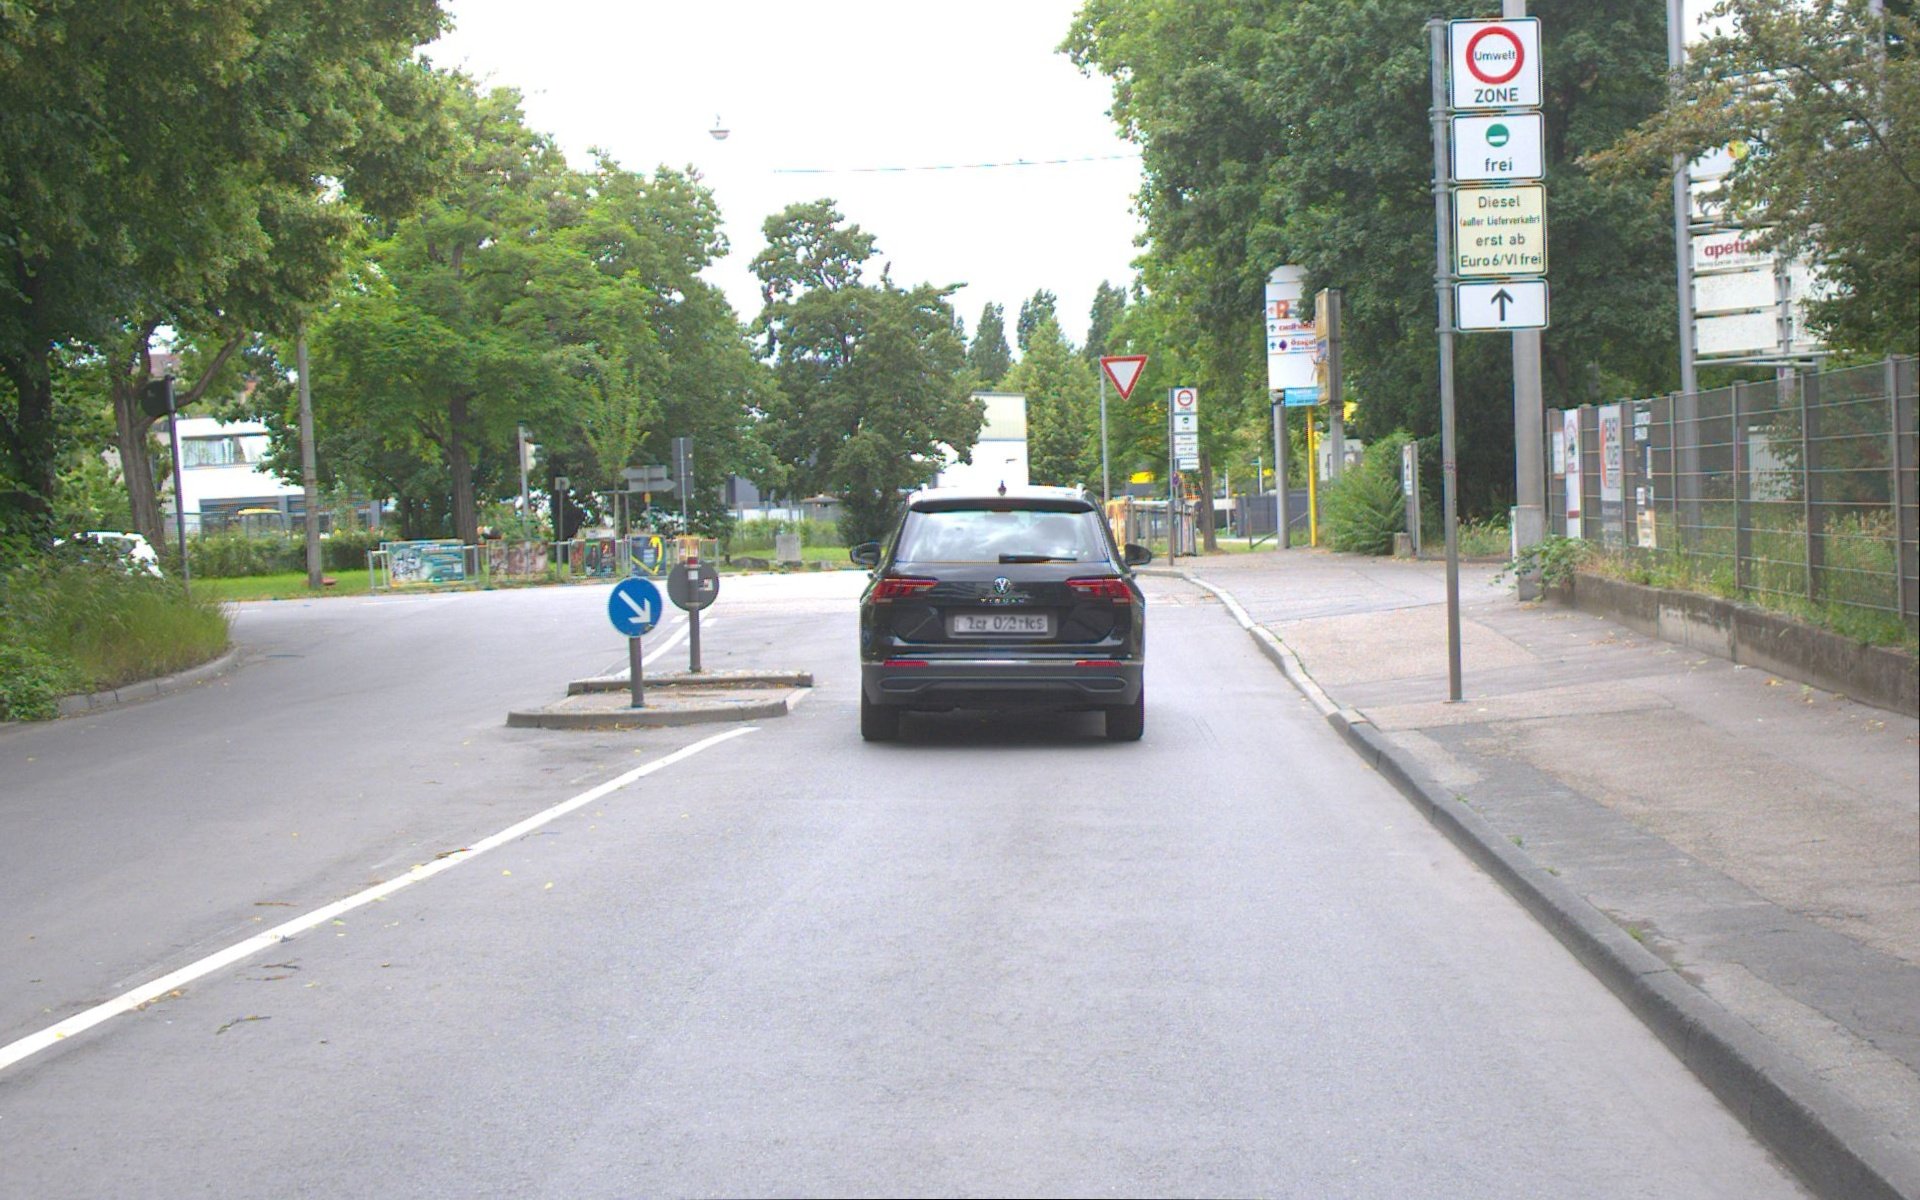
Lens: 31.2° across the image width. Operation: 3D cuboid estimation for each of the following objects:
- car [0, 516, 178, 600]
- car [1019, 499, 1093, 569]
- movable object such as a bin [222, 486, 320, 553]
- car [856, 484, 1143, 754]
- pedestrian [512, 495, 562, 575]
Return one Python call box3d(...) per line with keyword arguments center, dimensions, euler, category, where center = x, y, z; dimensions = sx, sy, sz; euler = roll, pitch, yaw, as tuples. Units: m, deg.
box3d(center=(-16.614, -0.779, 64.066), dimensions=(3.604, 1.404, 1.742), euler=(-3, 2, -26), category="car")
box3d(center=(2.357, -1.618, 83.327), dimensions=(1.659, 1.569, 3.828), euler=(-3, 1, 3), category="car")
box3d(center=(-22.111, -2.594, 110.425), dimensions=(1.996, 2.006, 2.397), euler=(-1, 2, 23), category="movable object such as a bin")
box3d(center=(0.249, 0.053, 22.755), dimensions=(1.739, 1.612, 3.641), euler=(0, 2, 0), category="car")
box3d(center=(-9.327, -1.438, 75.838), dimensions=(0.743, 1.736, 0.726), euler=(-1, 2, 42), category="pedestrian")
